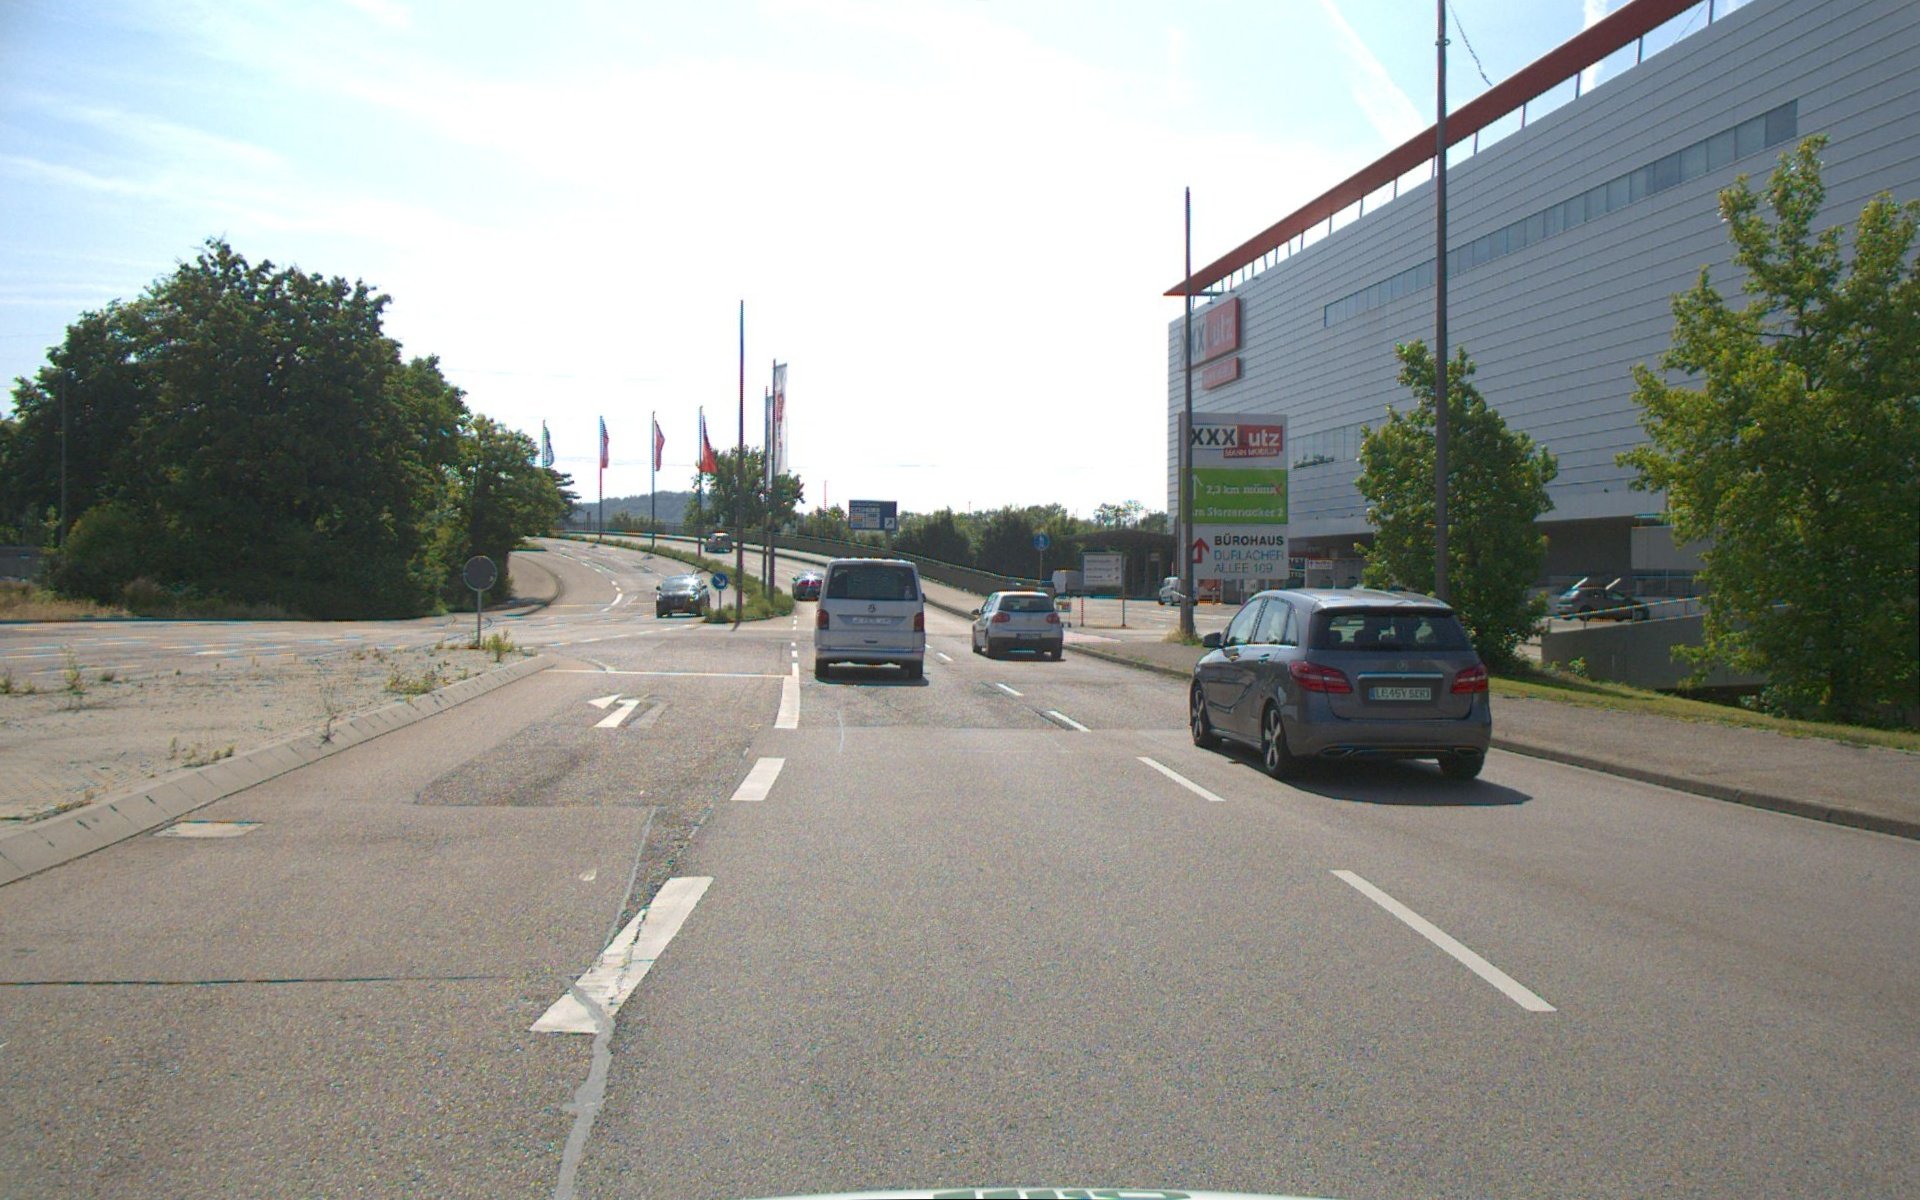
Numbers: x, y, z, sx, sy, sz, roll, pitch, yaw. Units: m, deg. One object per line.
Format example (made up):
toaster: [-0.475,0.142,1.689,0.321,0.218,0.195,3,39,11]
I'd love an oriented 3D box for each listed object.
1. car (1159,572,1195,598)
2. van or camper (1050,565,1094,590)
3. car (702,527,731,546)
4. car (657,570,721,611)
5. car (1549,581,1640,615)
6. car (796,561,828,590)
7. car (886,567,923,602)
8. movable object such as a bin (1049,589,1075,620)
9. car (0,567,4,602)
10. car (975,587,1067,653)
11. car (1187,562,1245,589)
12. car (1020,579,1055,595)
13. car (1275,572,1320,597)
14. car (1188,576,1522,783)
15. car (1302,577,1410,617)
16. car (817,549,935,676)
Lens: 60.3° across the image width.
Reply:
car: [15.591,-1.117,119.135,1.641,1.782,4.088,1,1,-6]
van or camper: [11.440,-2.295,168.775,2.062,2.216,5.421,2,-1,33]
car: [-20.599,-5.375,139.907,1.511,1.505,3.400,1,0,-24]
car: [-11.193,-0.421,68.466,1.876,1.634,4.272,1,1,1]
car: [28.240,-0.094,73.667,3.453,1.400,1.600,2,1,-11]
car: [-8.078,-1.337,90.155,1.503,1.505,3.240,1,1,-9]
car: [-2.756,-0.776,81.347,1.501,1.505,3.592,1,3,-6]
movable object such as a bin: [3.830,0.176,62.340,0.794,1.133,1.181,1,1,-6]
car: [-42.096,-0.670,68.759,4.055,1.445,1.711,0,-1,-30]
car: [1.361,0.446,38.207,1.634,1.439,3.678,1,0,-6]
car: [20.124,-1.932,130.087,4.108,1.962,1.774,1,1,-8]
car: [7.210,-1.211,154.584,1.963,1.445,3.978,3,0,-19]
car: [21.376,-1.004,104.892,1.641,1.535,4.088,1,1,-6]
car: [3.348,0.589,14.865,1.739,1.566,4.135,1,1,-4]
car: [17.729,-0.149,74.038,4.344,1.642,1.833,-2,2,-11]
car: [-1.515,0.170,28.743,1.879,2.010,4.293,1,1,-5]
